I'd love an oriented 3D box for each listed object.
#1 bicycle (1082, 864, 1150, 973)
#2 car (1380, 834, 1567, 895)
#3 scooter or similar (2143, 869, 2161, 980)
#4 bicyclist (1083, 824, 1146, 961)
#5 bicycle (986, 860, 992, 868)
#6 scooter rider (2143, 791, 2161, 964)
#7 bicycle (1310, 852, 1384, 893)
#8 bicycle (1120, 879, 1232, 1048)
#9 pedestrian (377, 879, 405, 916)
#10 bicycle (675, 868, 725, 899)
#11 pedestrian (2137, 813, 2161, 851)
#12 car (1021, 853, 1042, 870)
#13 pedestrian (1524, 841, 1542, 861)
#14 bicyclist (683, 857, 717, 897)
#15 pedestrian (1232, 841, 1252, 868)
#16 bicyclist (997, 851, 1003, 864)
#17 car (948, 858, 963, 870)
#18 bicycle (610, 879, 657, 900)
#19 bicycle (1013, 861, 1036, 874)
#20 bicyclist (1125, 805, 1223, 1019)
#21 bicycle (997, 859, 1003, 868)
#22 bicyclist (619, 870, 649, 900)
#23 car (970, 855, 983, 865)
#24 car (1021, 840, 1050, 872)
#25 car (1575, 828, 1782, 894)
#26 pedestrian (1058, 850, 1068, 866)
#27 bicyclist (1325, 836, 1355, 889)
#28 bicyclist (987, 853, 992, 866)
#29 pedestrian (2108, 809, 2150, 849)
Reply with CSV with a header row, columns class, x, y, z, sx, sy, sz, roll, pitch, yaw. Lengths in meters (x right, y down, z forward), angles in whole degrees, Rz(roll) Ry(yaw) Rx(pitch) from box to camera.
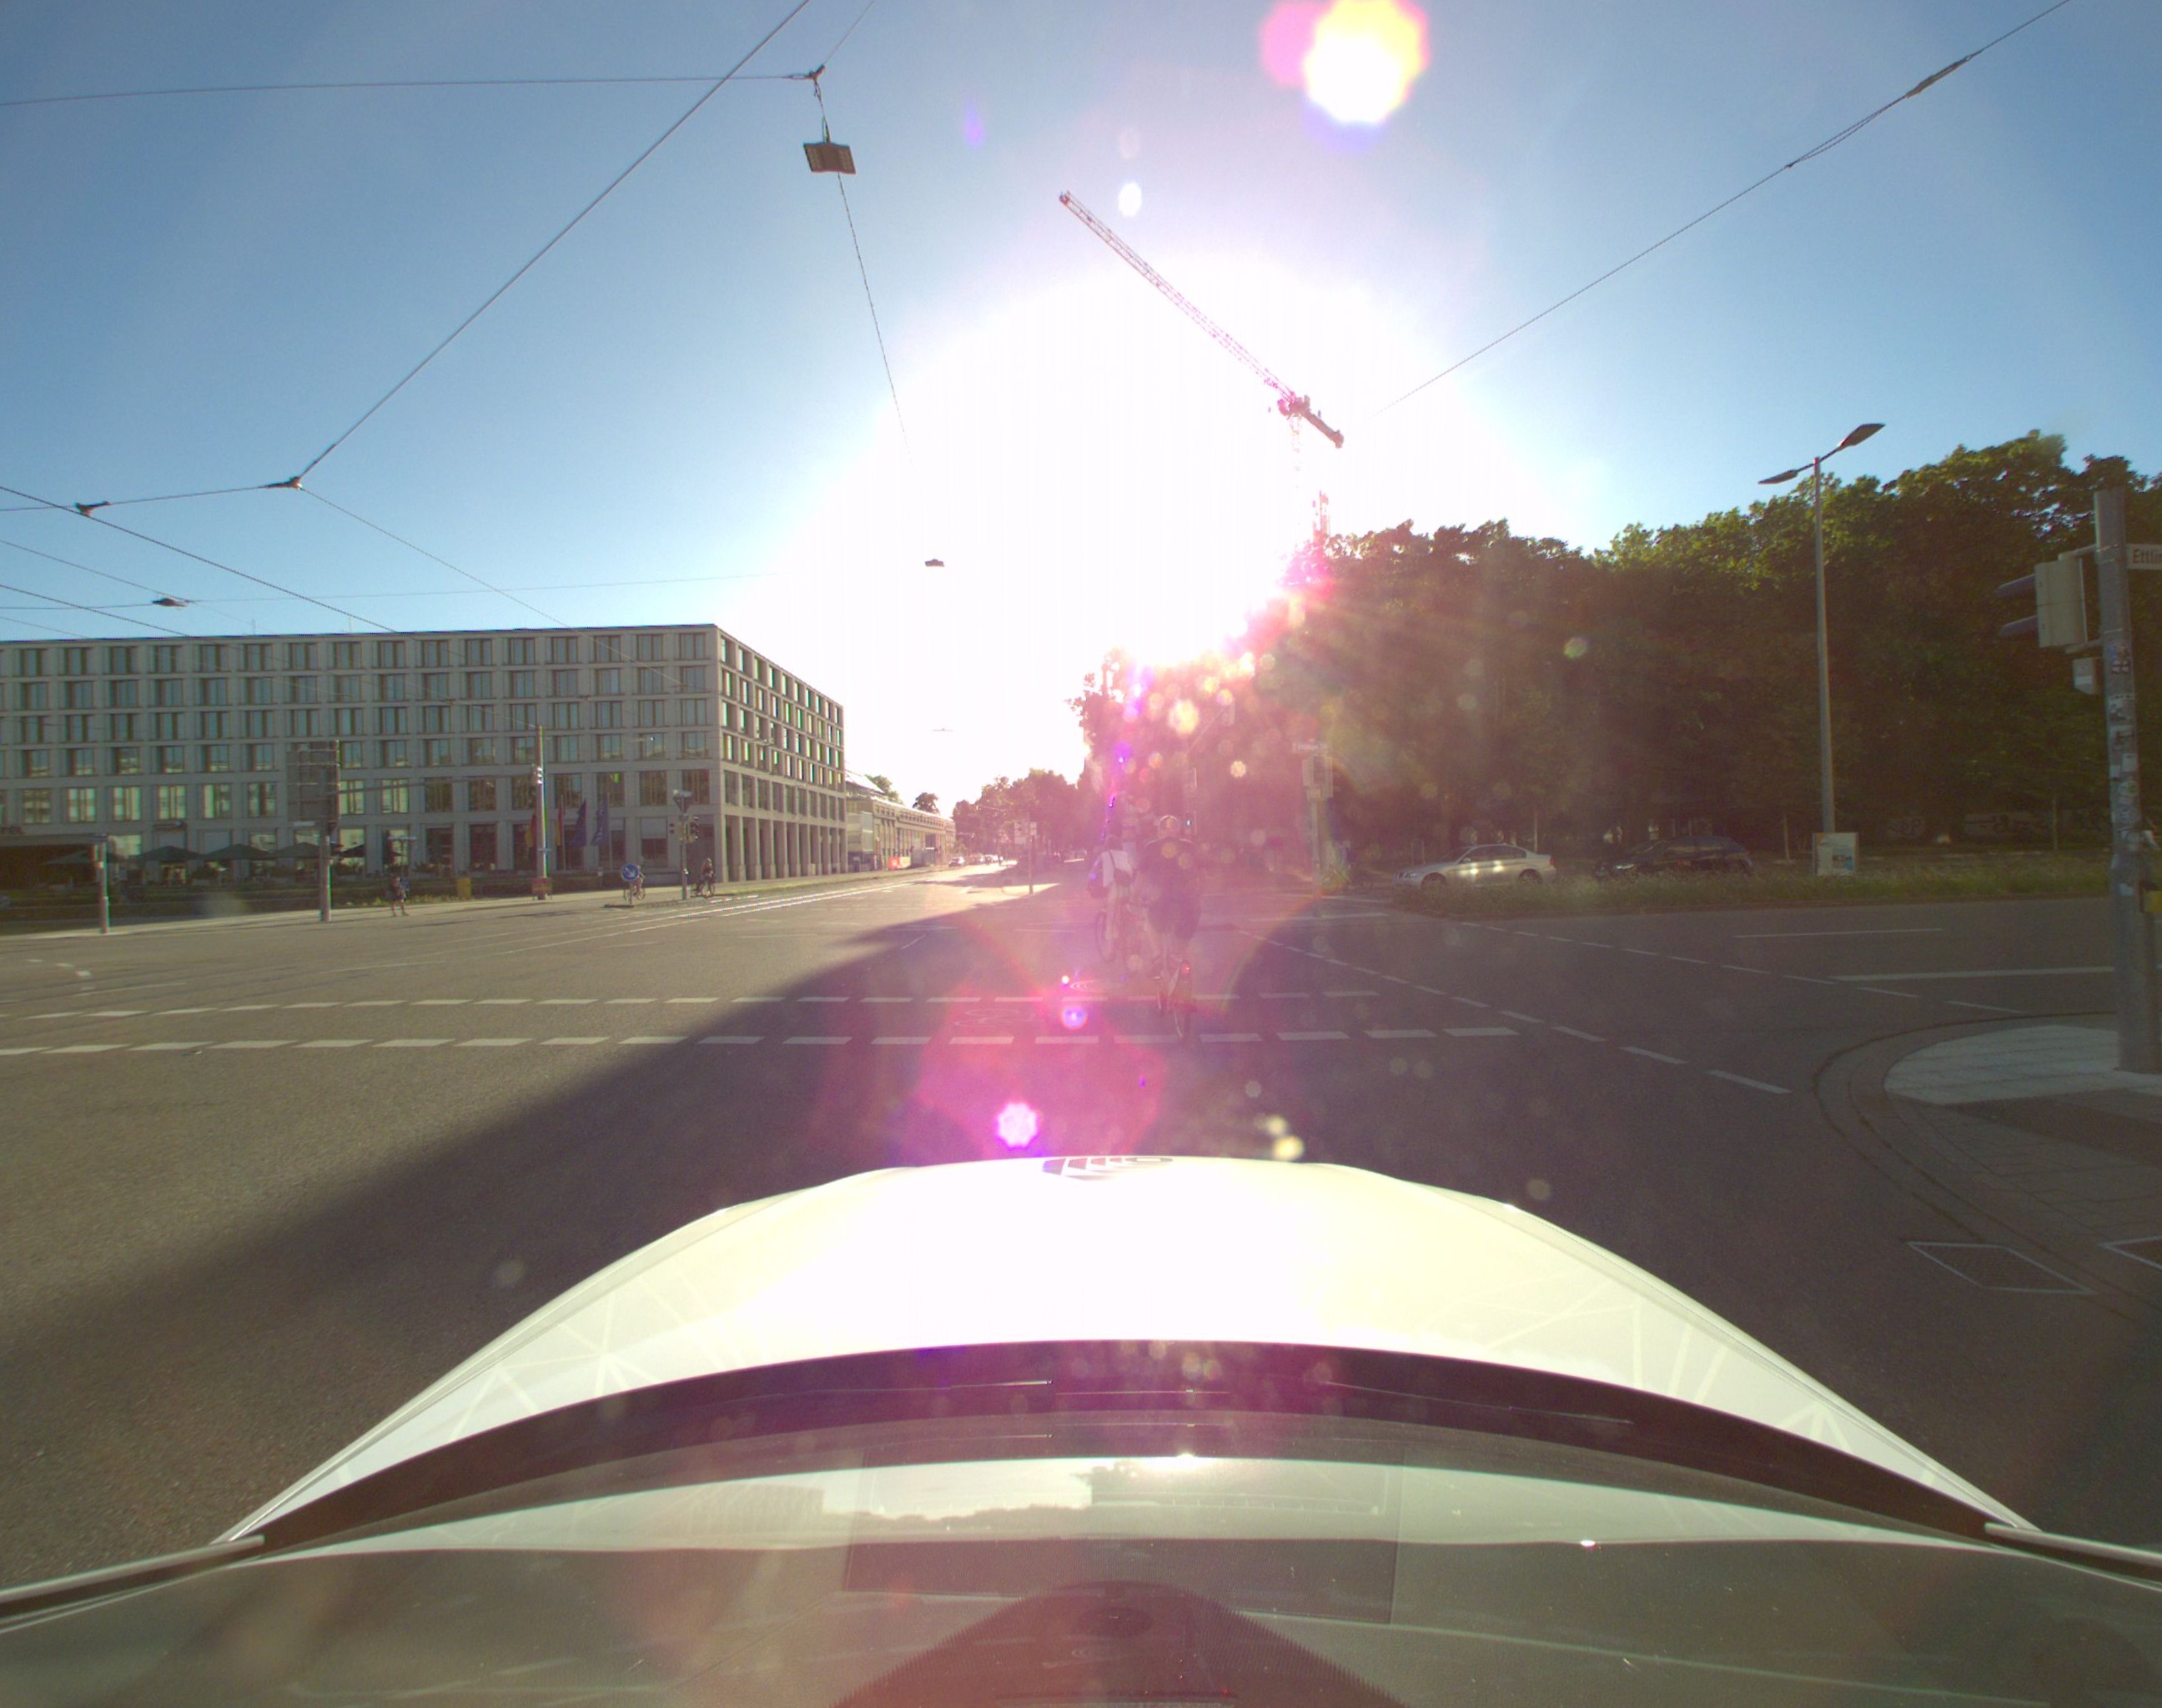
class,x,y,z,sx,sy,sz,roll,pitch,yaw
bicycle,0.418,0.762,10.620,0.773,1.240,2.312,0,0,0
car,11.422,0.299,23.929,4.519,1.560,2.000,-2,0,0
scooter or similar,10.735,0.647,7.591,1.114,1.031,0.555,-2,0,-11
bicyclist,0.417,0.481,10.564,0.770,1.690,0.925,0,-1,0
bicycle,-13.444,1.423,119.437,0.658,1.156,1.809,-2,0,0
scooter rider,10.535,0.214,7.561,0.648,1.632,0.561,-2,0,-11
bicycle,8.662,0.601,26.651,2.225,1.240,0.781,-2,-1,15
bicycle,0.782,0.870,7.278,0.773,1.240,2.021,0,0,0
pedestrian,-29.503,1.862,34.827,0.600,1.525,0.623,-2,0,-4
bicycle,-16.020,1.261,34.245,1.988,1.231,0.852,-2,0,29
pedestrian,46.586,-0.955,35.265,0.720,1.641,0.745,-2,0,4
car,-4.415,0.632,73.443,1.693,1.428,3.997,-2,0,-2
pedestrian,30.937,-0.193,55.760,0.711,1.340,0.830,-2,0,3
bicyclist,-15.996,0.972,34.225,0.960,1.619,0.858,-2,0,30
pedestrian,10.914,0.020,55.237,1.202,1.740,0.898,-2,0,16
bicyclist,-11.388,0.484,113.949,0.662,1.853,0.783,-2,0,0
car,-20.679,1.615,134.542,1.988,1.969,3.997,-2,0,-2
bicycle,-20.881,1.657,38.037,0.837,0.851,2.336,-2,0,1
bicycle,-3.994,0.960,57.573,1.600,0.889,0.768,-2,0,-8
bicyclist,0.785,0.480,7.076,0.750,1.743,0.838,0,-1,0
bicycle,-11.378,1.307,114.052,0.658,1.156,1.809,-2,0,0
bicyclist,-20.882,1.437,38.040,0.821,1.362,0.973,-2,0,0
car,-19.188,1.115,150.025,1.988,1.640,3.997,-2,0,-2
car,-4.381,0.206,79.784,2.585,2.952,5.085,-2,0,-2
car,17.197,0.193,23.618,4.519,1.675,2.000,-2,0,0
pedestrian,-1.906,0.463,88.018,0.784,1.740,0.889,-2,0,-19
bicyclist,8.477,0.276,26.700,0.830,1.679,0.787,-2,-1,15
bicyclist,-13.468,0.790,119.544,0.633,1.853,0.783,-2,0,0
pedestrian,46.508,-1.101,36.147,0.755,1.740,0.775,-2,0,4
